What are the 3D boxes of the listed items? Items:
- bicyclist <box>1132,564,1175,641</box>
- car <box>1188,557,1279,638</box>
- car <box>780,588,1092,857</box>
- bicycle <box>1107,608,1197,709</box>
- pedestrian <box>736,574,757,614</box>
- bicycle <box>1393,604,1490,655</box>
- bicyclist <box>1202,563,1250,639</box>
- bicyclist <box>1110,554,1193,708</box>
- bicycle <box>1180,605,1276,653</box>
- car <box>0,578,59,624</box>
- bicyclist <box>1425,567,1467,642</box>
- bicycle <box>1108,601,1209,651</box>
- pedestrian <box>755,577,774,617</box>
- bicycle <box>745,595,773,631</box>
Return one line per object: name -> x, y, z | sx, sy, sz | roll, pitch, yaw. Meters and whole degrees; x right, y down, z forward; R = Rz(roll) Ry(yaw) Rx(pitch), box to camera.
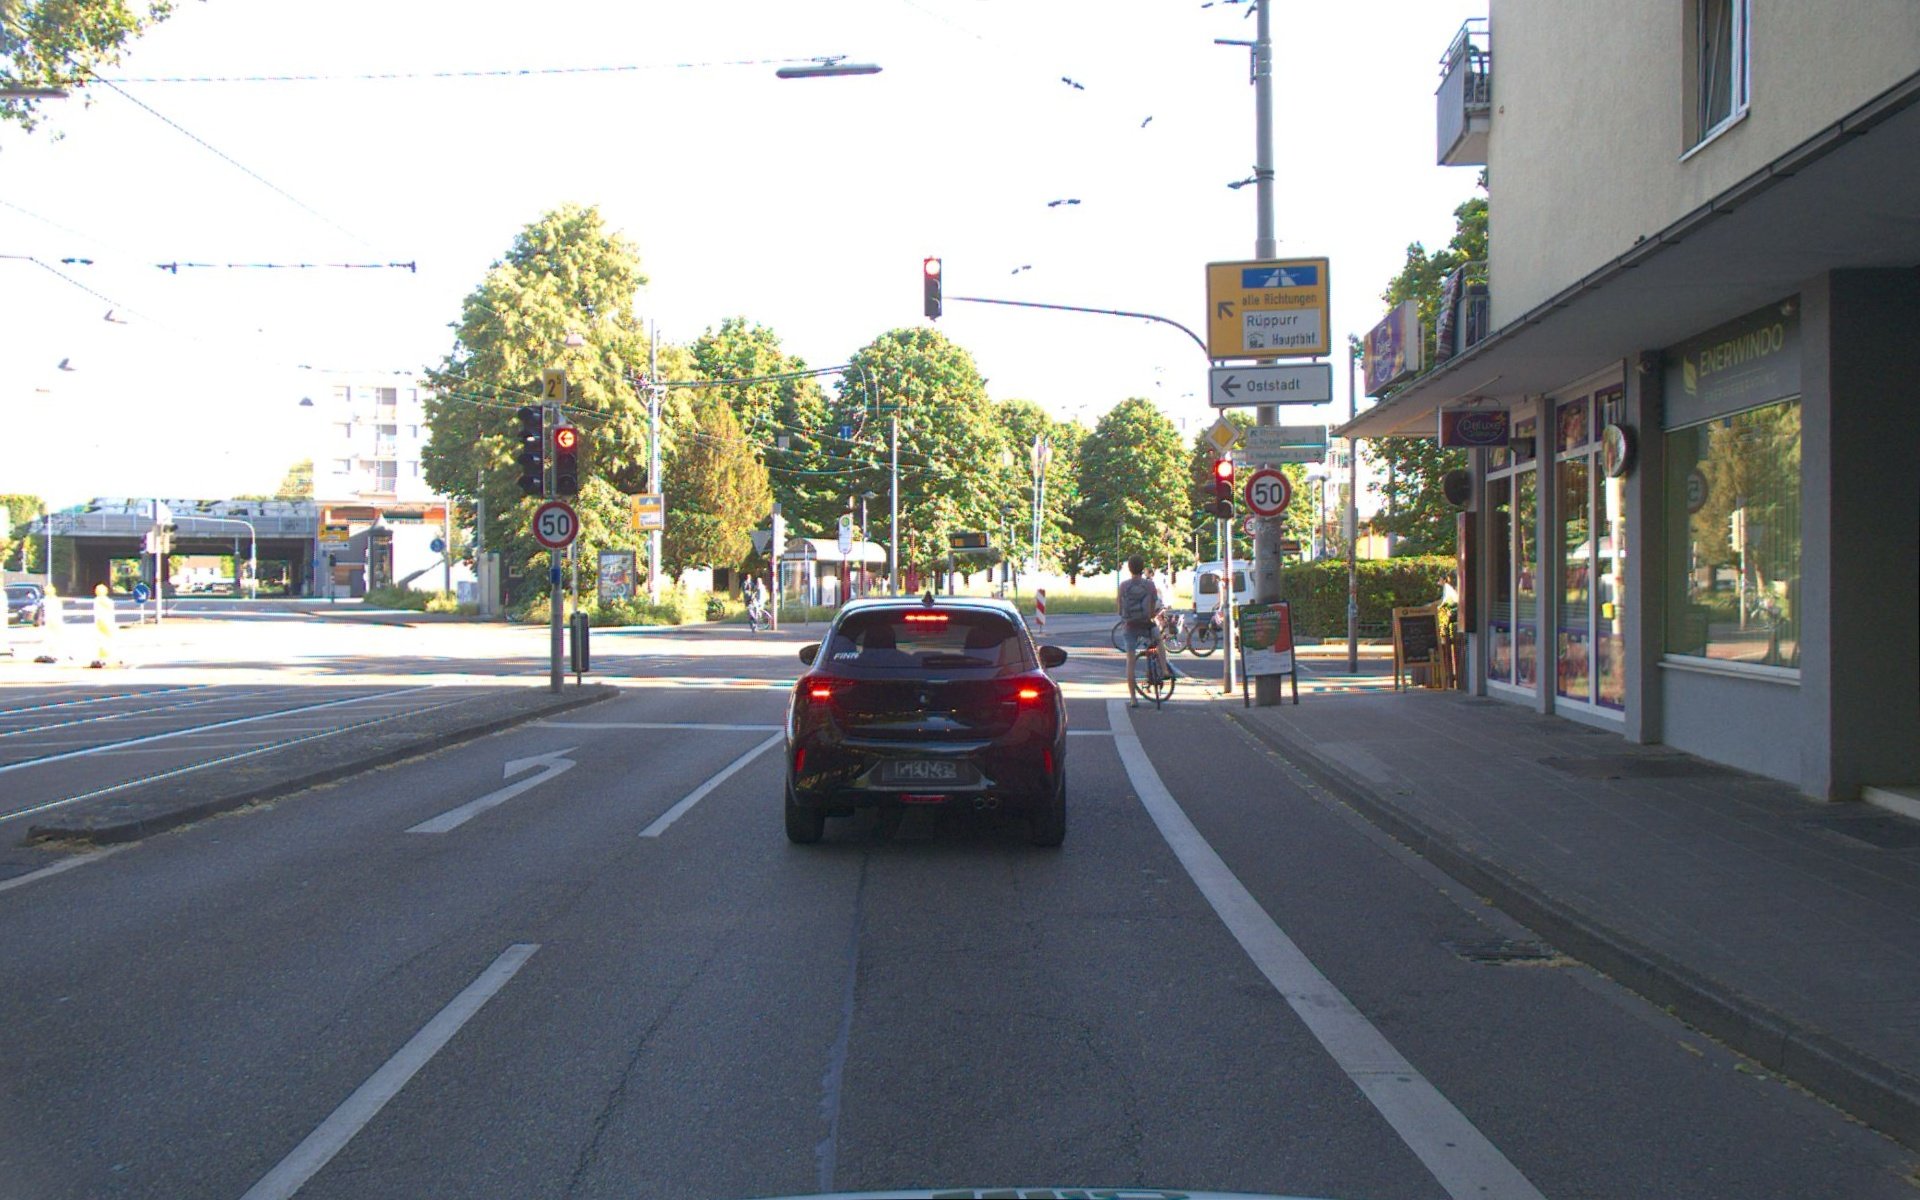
bicyclist -> 4.440, 0.044, 37.855 | 0.907, 1.737, 0.876 | 0, 0, 12
car -> 8.248, -0.105, 49.480 | 2.020, 2.288, 4.889 | 0, 1, 18
car -> -0.138, 0.660, 11.155 | 1.692, 1.454, 4.187 | 1, 0, 0
bicycle -> 2.394, 0.706, 20.873 | 0.842, 1.173, 2.171 | 0, 1, -1
pedestrian -> -8.937, -0.250, 69.232 | 0.735, 1.658, 0.598 | 2, -1, 6
bicycle -> 10.580, 0.643, 36.385 | 2.011, 1.113, 0.593 | 0, 0, 13
bicyclist -> 5.676, 0.011, 35.238 | 0.988, 1.598, 0.800 | 0, 0, 11
bicyclist -> 2.392, 0.381, 20.780 | 0.922, 1.883, 0.864 | 0, 0, -1
bicycle -> 5.714, 0.608, 35.261 | 2.014, 1.001, 0.673 | 0, 0, 11
car -> -32.878, 0.012, 57.818 | 1.798, 1.545, 3.871 | 2, 0, -20
bicyclist -> 10.681, 0.091, 36.358 | 0.843, 1.623, 0.650 | 0, 0, 13
bicycle -> 4.543, 0.583, 37.842 | 2.244, 1.103, 0.801 | 0, 0, 12
pedestrian -> -8.160, -0.126, 69.051 | 0.623, 1.658, 0.572 | 2, -1, 6
bicycle -> -5.984, 0.377, 49.358 | 0.593, 1.049, 1.982 | 0, 1, -1
